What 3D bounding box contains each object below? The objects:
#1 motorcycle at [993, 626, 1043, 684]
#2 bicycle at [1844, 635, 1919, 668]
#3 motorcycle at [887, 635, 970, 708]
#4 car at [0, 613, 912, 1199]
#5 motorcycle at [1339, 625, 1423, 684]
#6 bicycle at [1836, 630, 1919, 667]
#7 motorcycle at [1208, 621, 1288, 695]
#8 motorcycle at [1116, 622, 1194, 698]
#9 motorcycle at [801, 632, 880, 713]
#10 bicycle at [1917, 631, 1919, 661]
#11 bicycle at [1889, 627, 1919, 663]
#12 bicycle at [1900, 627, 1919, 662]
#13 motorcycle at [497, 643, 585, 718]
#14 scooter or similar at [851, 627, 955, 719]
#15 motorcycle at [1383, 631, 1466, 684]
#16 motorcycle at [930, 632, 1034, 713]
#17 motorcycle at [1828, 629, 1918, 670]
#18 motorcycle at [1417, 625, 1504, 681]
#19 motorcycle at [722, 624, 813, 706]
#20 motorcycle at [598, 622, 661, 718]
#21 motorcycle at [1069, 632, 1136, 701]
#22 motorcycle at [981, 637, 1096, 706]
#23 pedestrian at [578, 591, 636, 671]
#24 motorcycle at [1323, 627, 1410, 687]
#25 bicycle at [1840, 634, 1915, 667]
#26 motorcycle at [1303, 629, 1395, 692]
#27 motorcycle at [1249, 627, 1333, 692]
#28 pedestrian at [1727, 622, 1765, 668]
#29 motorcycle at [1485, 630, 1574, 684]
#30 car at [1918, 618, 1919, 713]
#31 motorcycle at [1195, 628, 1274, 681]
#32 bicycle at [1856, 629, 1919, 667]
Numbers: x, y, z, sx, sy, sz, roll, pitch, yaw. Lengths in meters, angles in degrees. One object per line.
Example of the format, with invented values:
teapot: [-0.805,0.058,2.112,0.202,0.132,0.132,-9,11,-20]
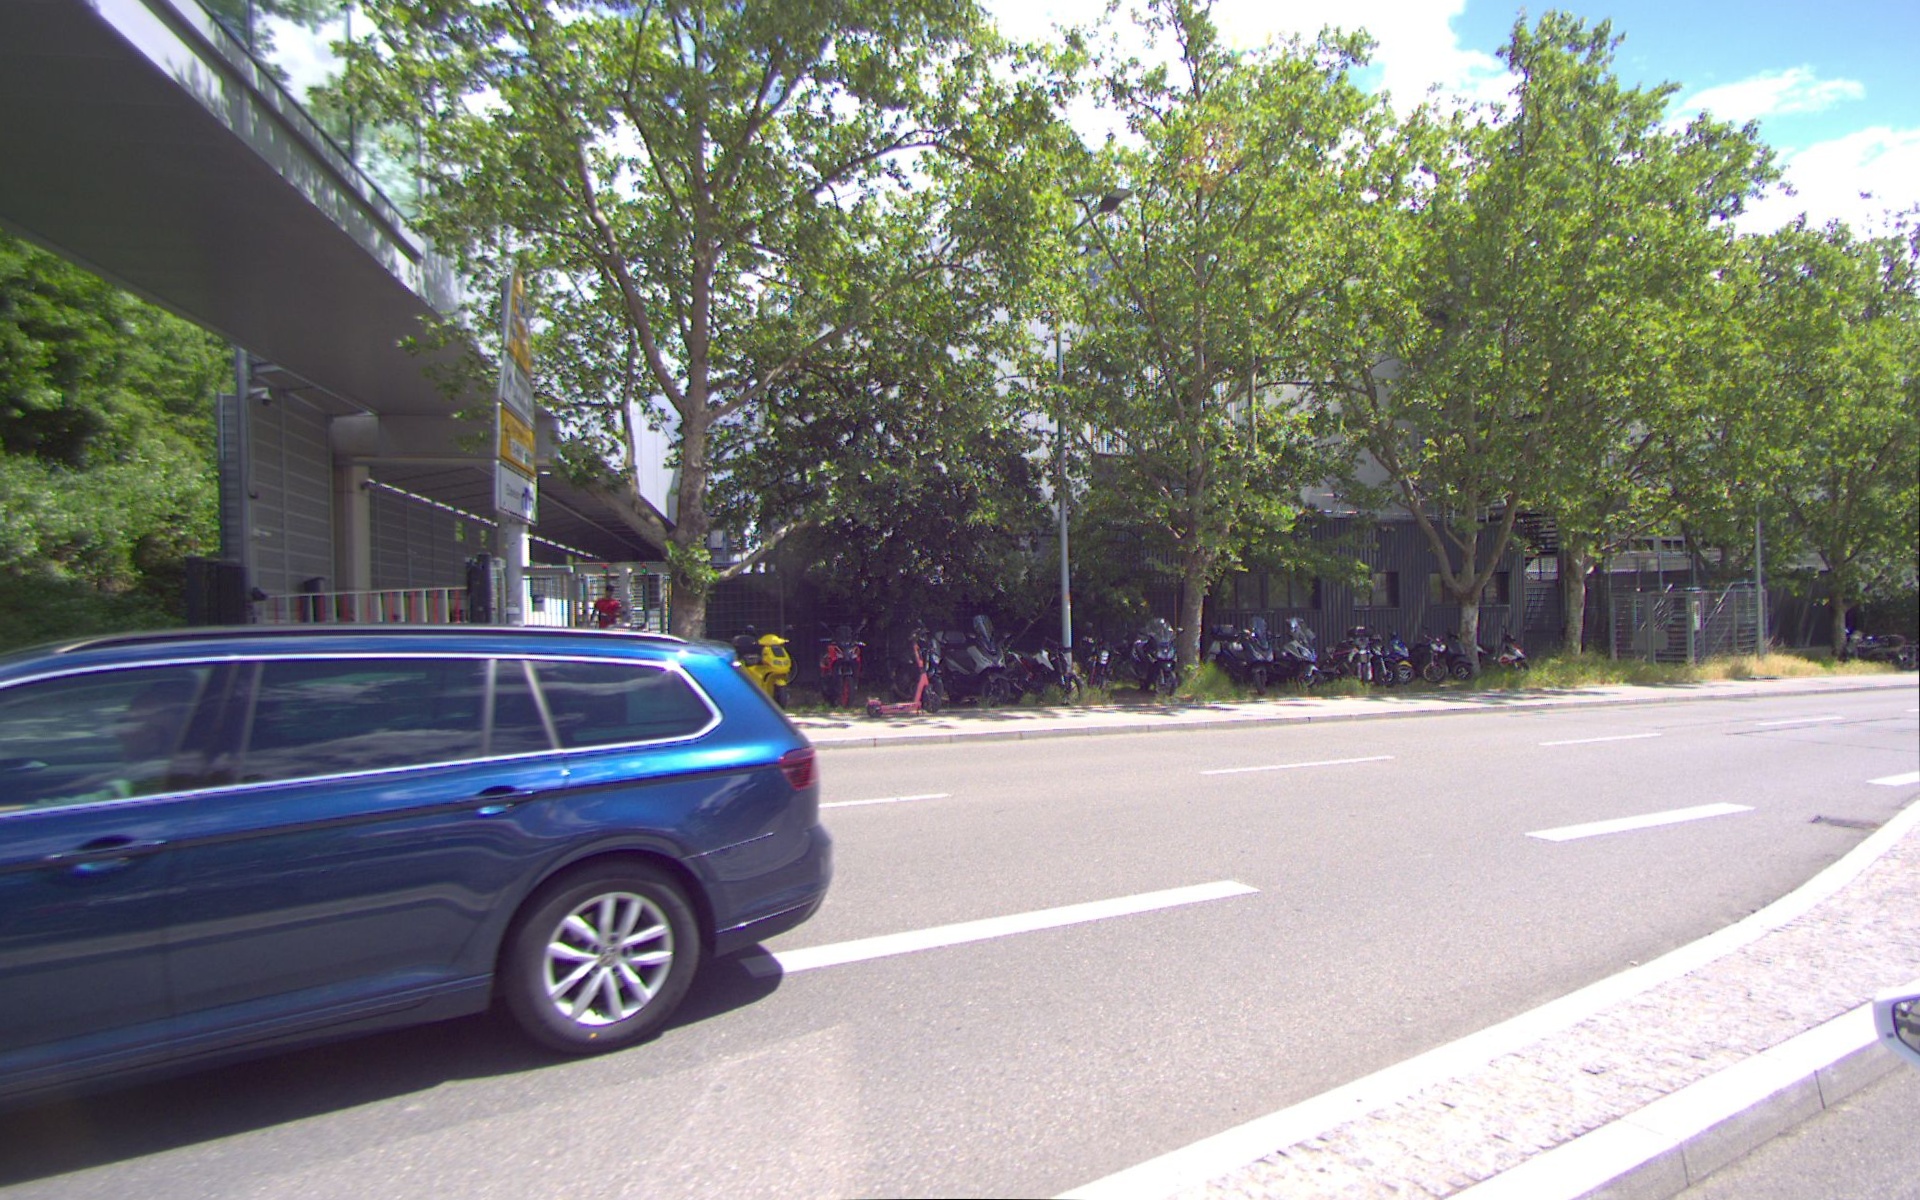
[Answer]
motorcycle: [1.259,1.186,22.153,0.903,1.131,1.937,0,1,-2]
bicycle: [32.692,1.797,35.528,0.491,1.076,2.070,1,-1,-30]
motorcycle: [-0.545,1.152,16.683,0.766,1.047,1.584,-1,2,-28]
car: [-2.490,0.791,3.525,4.434,1.472,1.698,1,-1,-35]
motorcycle: [9.831,1.243,23.540,0.646,1.226,1.872,-1,2,-25]
bicycle: [31.744,1.666,34.675,0.797,1.196,2.123,1,-1,-31]
motorcycle: [5.869,1.156,20.607,0.849,1.362,1.935,0,1,-9]
motorcycle: [3.745,1.124,19.436,0.876,1.308,1.935,0,1,-9]
motorcycle: [-1.952,1.139,16.216,0.766,1.138,1.584,-1,2,-28]
bicycle: [37.195,1.744,37.574,0.797,1.137,1.908,1,-1,-31]
bicycle: [35.258,1.661,36.601,0.797,1.299,1.908,1,-1,-31]
bicycle: [36.244,1.661,37.215,0.797,1.299,1.908,1,-1,-31]
motorcycle: [-5.929,1.114,14.317,0.762,0.880,1.745,0,1,-9]
scooter or similar: [-0.804,1.040,14.443,1.462,1.252,0.352,2,0,-30]
motorcycle: [10.963,1.335,23.805,0.780,1.099,1.878,0,1,-14]
motorcycle: [0.356,1.193,17.004,0.846,1.195,1.731,-1,2,-40]
motorcycle: [30.826,1.646,33.939,0.797,1.326,2.123,1,-1,-31]
motorcycle: [12.017,1.246,24.165,0.719,1.202,1.875,0,1,-21]
motorcycle: [-3.039,0.983,15.764,0.769,1.138,1.578,-1,2,-38]
motorcycle: [-4.742,0.956,14.349,0.764,1.187,1.739,-1,2,-21]
motorcycle: [2.646,1.216,18.900,0.903,1.131,1.937,0,1,-2]
motorcycle: [1.346,1.238,17.536,0.914,1.130,1.916,3,-4,-40]
pedestrian: [-7.833,0.682,22.265,0.880,1.724,0.971,1,-1,-44]
motorcycle: [9.207,1.265,22.833,0.689,1.195,1.872,-1,2,-25]
bicycle: [32.265,1.750,35.343,0.417,1.089,1.914,1,-1,-30]
motorcycle: [8.371,1.273,21.710,0.802,1.195,1.875,0,1,-20]
motorcycle: [6.950,1.221,21.193,0.801,1.195,1.878,0,1,-14]
pedestrian: [27.659,1.566,35.342,0.808,1.572,0.753,1,0,-20]
motorcycle: [13.992,1.378,24.729,0.734,1.189,1.875,0,1,-20]
car: [18.924,1.160,17.659,4.241,1.652,1.897,1,-1,-30]
motorcycle: [6.883,1.353,25.159,1.956,1.226,0.651,-1,2,-26]
bicycle: [34.173,1.742,36.628,0.797,1.299,2.123,1,-1,-31]
